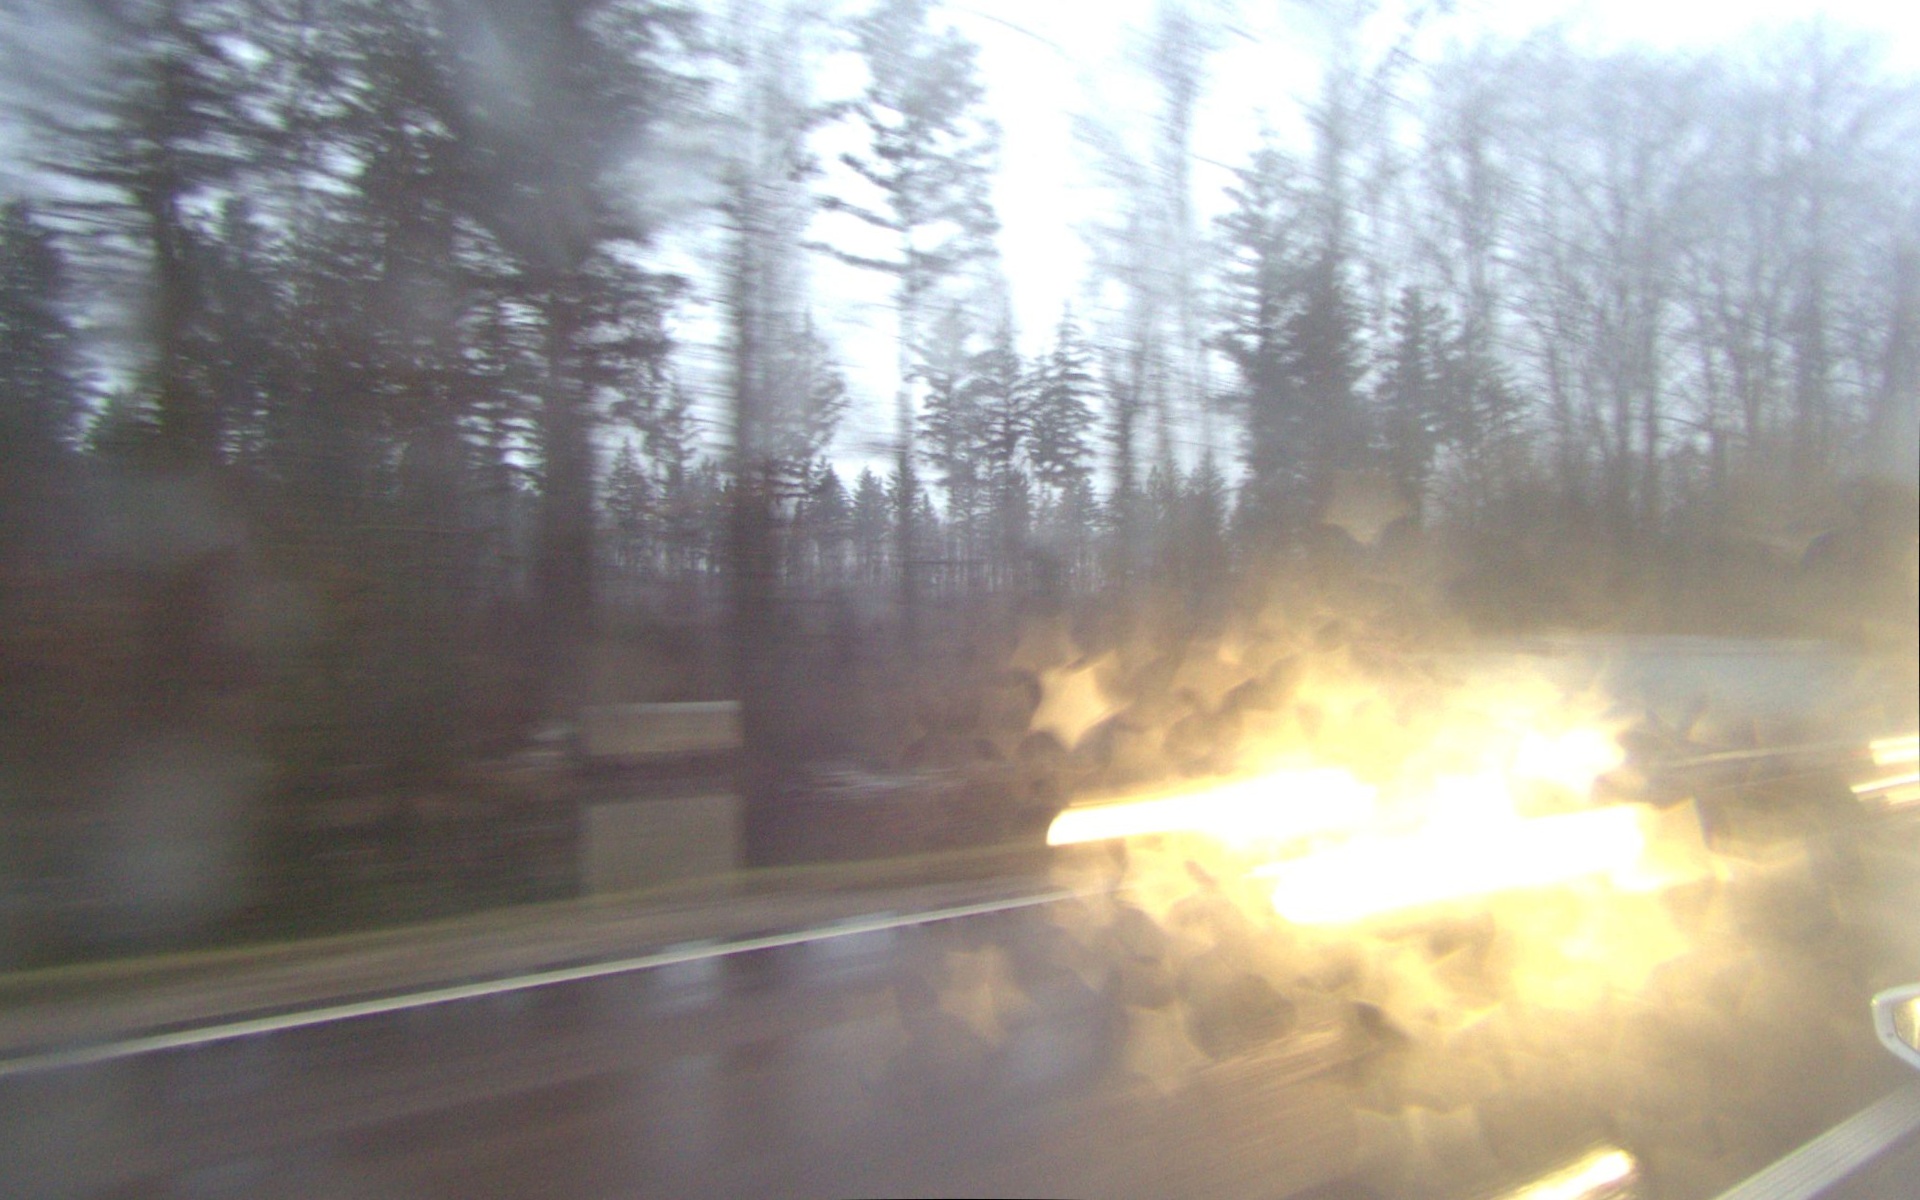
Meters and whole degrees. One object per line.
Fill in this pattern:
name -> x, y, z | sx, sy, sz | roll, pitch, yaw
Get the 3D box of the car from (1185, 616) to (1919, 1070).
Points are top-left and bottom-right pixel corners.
car -> 3.437, 0.882, 5.195 | 4.455, 1.477, 1.756 | 2, -3, -30
